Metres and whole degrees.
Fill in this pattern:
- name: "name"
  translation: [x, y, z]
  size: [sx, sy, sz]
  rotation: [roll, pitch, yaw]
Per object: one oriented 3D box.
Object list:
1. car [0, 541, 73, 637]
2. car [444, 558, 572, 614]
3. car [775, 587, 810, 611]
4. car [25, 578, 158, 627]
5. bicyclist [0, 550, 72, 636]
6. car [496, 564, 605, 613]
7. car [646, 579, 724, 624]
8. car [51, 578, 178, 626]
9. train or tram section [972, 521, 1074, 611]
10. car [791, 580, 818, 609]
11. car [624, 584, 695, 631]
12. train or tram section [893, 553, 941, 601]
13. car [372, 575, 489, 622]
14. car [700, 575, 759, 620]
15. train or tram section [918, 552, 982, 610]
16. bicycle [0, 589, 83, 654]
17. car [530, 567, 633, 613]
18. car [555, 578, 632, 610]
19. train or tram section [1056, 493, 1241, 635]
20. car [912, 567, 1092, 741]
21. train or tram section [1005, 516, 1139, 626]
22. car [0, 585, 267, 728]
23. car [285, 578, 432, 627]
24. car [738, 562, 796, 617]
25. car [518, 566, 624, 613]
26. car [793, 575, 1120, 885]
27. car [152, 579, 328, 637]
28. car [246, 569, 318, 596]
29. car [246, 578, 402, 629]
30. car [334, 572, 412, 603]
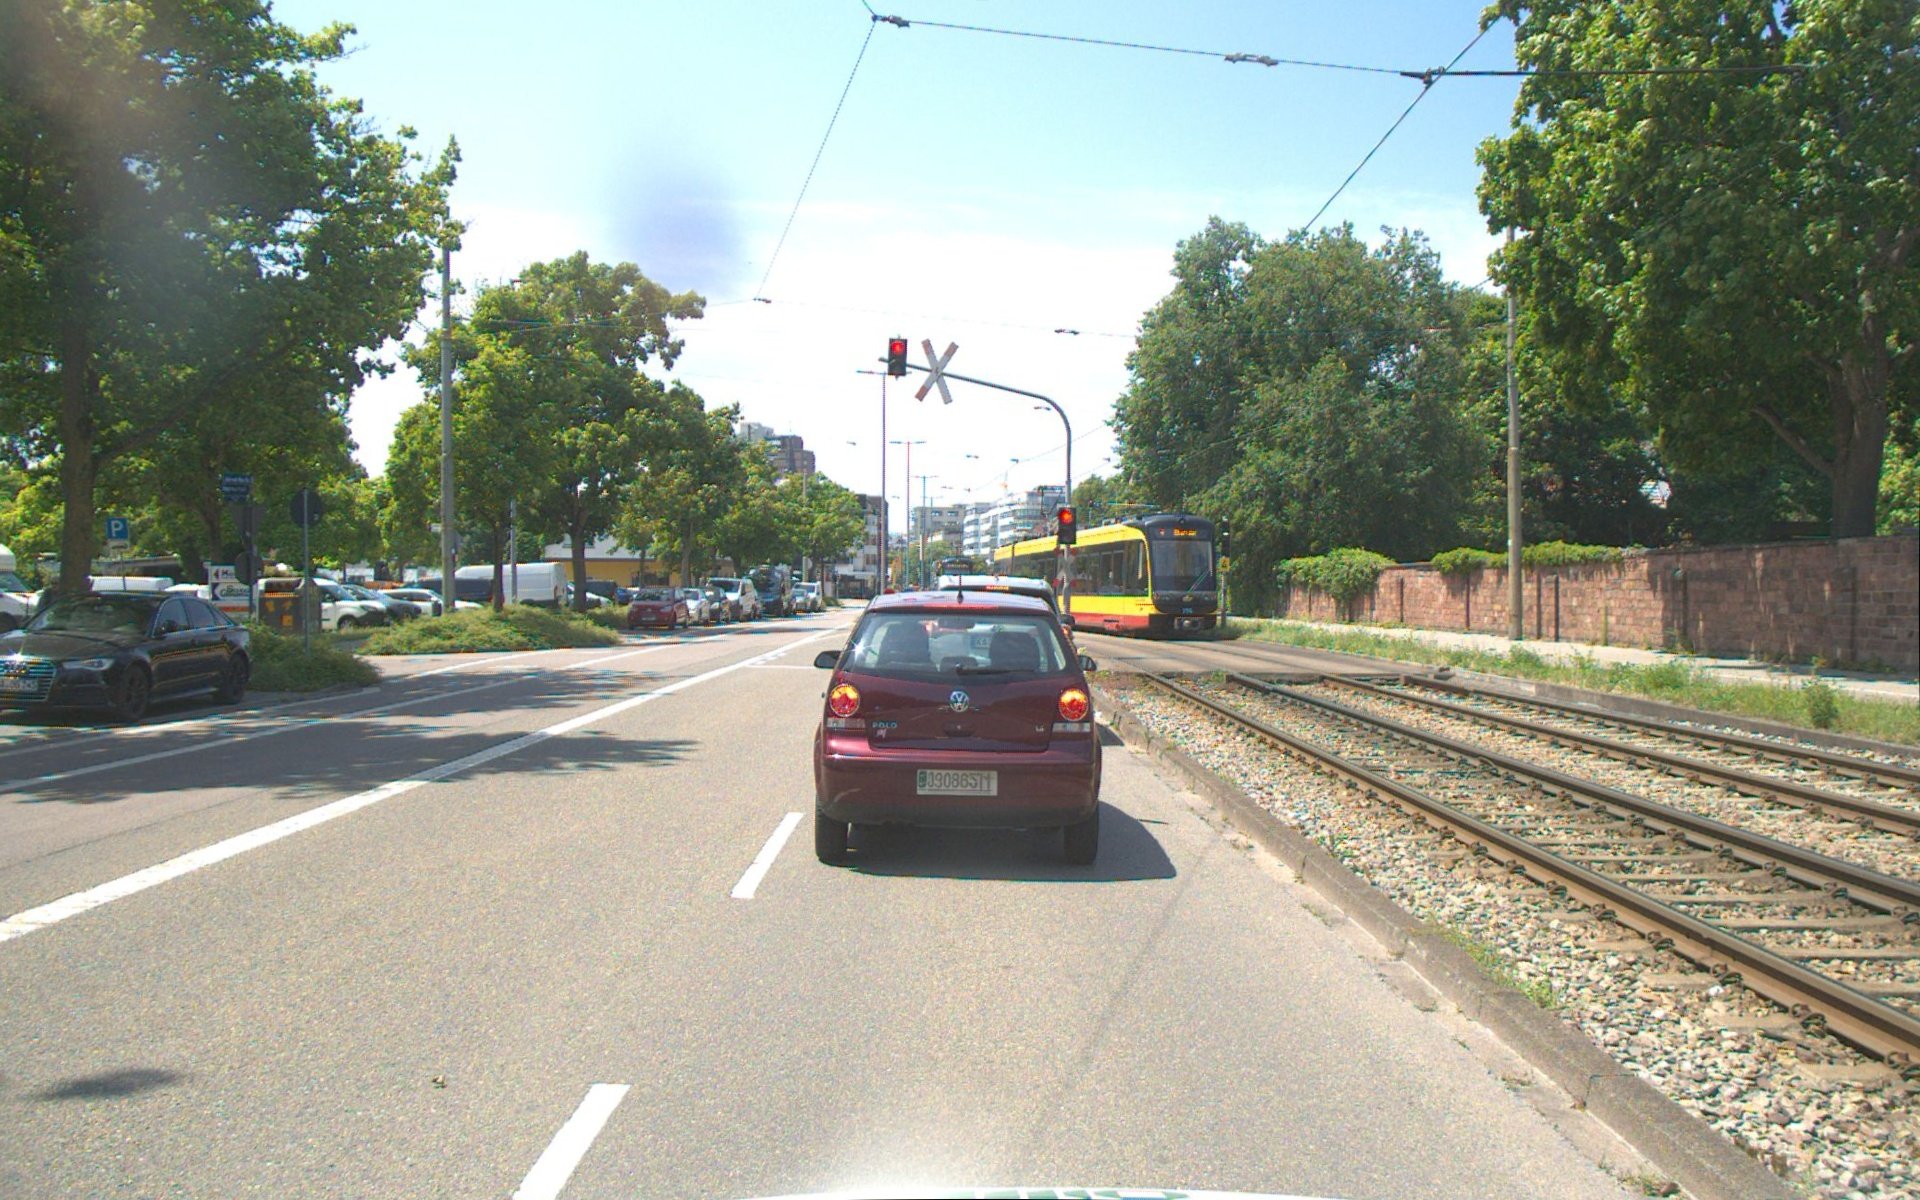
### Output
- name: "car"
  translation: [-33.055, -0.462, 53.998]
  size: [6.714, 3.017, 2.363]
  rotation: [2, 0, -2]
- name: "car"
  translation: [-20.294, -0.606, 74.441]
  size: [4.993, 2.283, 2.378]
  rotation: [2, 0, 0]
- name: "car"
  translation: [-10.648, -0.053, 105.144]
  size: [1.581, 1.466, 4.001]
  rotation: [2, 0, 3]
- name: "car"
  translation: [-32.405, 0.096, 61.804]
  size: [3.913, 1.682, 1.812]
  rotation: [2, 0, -9]
- name: "bicyclist"
  translation: [-15.568, -0.117, 27.763]
  size: [0.792, 1.398, 0.828]
  rotation: [2, -1, 2]
- name: "car"
  translation: [-21.216, -0.578, 85.870]
  size: [4.993, 2.283, 2.378]
  rotation: [2, 0, 0]
- name: "car"
  translation: [-10.680, 0.087, 64.588]
  size: [1.934, 1.629, 4.560]
  rotation: [2, 0, 4]
- name: "car"
  translation: [-32.777, 0.094, 64.208]
  size: [3.913, 1.682, 1.812]
  rotation: [2, 0, -9]
- name: "train or tram section"
  translation: [2.766, -1.532, 77.351]
  size: [2.970, 3.864, 12.743]
  rotation: [0, 1, -6]
- name: "car"
  translation: [-10.455, -0.334, 111.155]
  size: [1.741, 1.860, 3.995]
  rotation: [2, 0, -6]
- name: "car"
  translation: [-10.497, 0.272, 58.041]
  size: [1.628, 1.523, 4.000]
  rotation: [2, 0, 1]
- name: "train or tram section"
  translation: [-3.591, -1.896, 134.564]
  size: [2.689, 3.672, 10.933]
  rotation: [2, 1, -7]
- name: "car"
  translation: [-20.454, -0.071, 64.008]
  size: [3.906, 1.776, 1.998]
  rotation: [0, 0, -2]
- name: "car"
  translation: [-10.375, -0.093, 74.831]
  size: [1.746, 1.914, 4.787]
  rotation: [2, 0, 2]
- name: "train or tram section"
  translation: [-0.805, -1.319, 112.848]
  size: [2.689, 3.672, 12.849]
  rotation: [2, 1, -7]
- name: "bicycle"
  translation: [-15.607, 0.353, 27.774]
  size: [0.686, 1.047, 1.829]
  rotation: [2, 0, 3]
- name: "car"
  translation: [-20.729, -0.535, 90.734]
  size: [4.993, 2.283, 2.378]
  rotation: [2, 0, 0]
- name: "car"
  translation: [-21.084, -0.349, 95.241]
  size: [3.938, 1.645, 1.816]
  rotation: [2, 0, 0]
- name: "train or tram section"
  translation: [5.529, -1.044, 51.657]
  size: [2.970, 3.864, 13.072]
  rotation: [0, 1, -6]
- name: "car"
  translation: [0.368, 0.519, 18.427]
  size: [1.741, 1.676, 3.999]
  rotation: [2, 1, -2]
- name: "train or tram section"
  translation: [4.126, -1.079, 64.614]
  size: [2.970, 3.864, 13.072]
  rotation: [0, 1, -6]
- name: "car"
  translation: [-10.320, 0.601, 20.293]
  size: [1.782, 1.502, 4.448]
  rotation: [2, 1, -1]
- name: "car"
  translation: [-20.326, 0.072, 55.977]
  size: [4.251, 1.612, 1.914]
  rotation: [0, 0, 5]
- name: "car"
  translation: [-10.208, -0.516, 87.876]
  size: [2.313, 2.739, 5.307]
  rotation: [2, 0, 0]
- name: "car"
  translation: [-20.734, -0.548, 88.244]
  size: [4.993, 2.283, 2.378]
  rotation: [2, 0, 0]
- name: "car"
  translation: [-0.061, 0.648, 10.494]
  size: [1.638, 1.548, 3.999]
  rotation: [2, 1, -1]
- name: "car"
  translation: [-20.903, 0.216, 48.160]
  size: [4.256, 1.612, 1.912]
  rotation: [0, 0, -3]
- name: "car"
  translation: [-44.839, -1.163, 109.489]
  size: [3.938, 1.645, 1.816]
  rotation: [2, 0, 0]
- name: "car"
  translation: [-20.410, 0.102, 53.189]
  size: [4.251, 1.612, 1.914]
  rotation: [0, 0, 5]
- name: "car"
  translation: [-35.208, -0.744, 99.291]
  size: [3.939, 1.645, 1.816]
  rotation: [2, 0, -2]
